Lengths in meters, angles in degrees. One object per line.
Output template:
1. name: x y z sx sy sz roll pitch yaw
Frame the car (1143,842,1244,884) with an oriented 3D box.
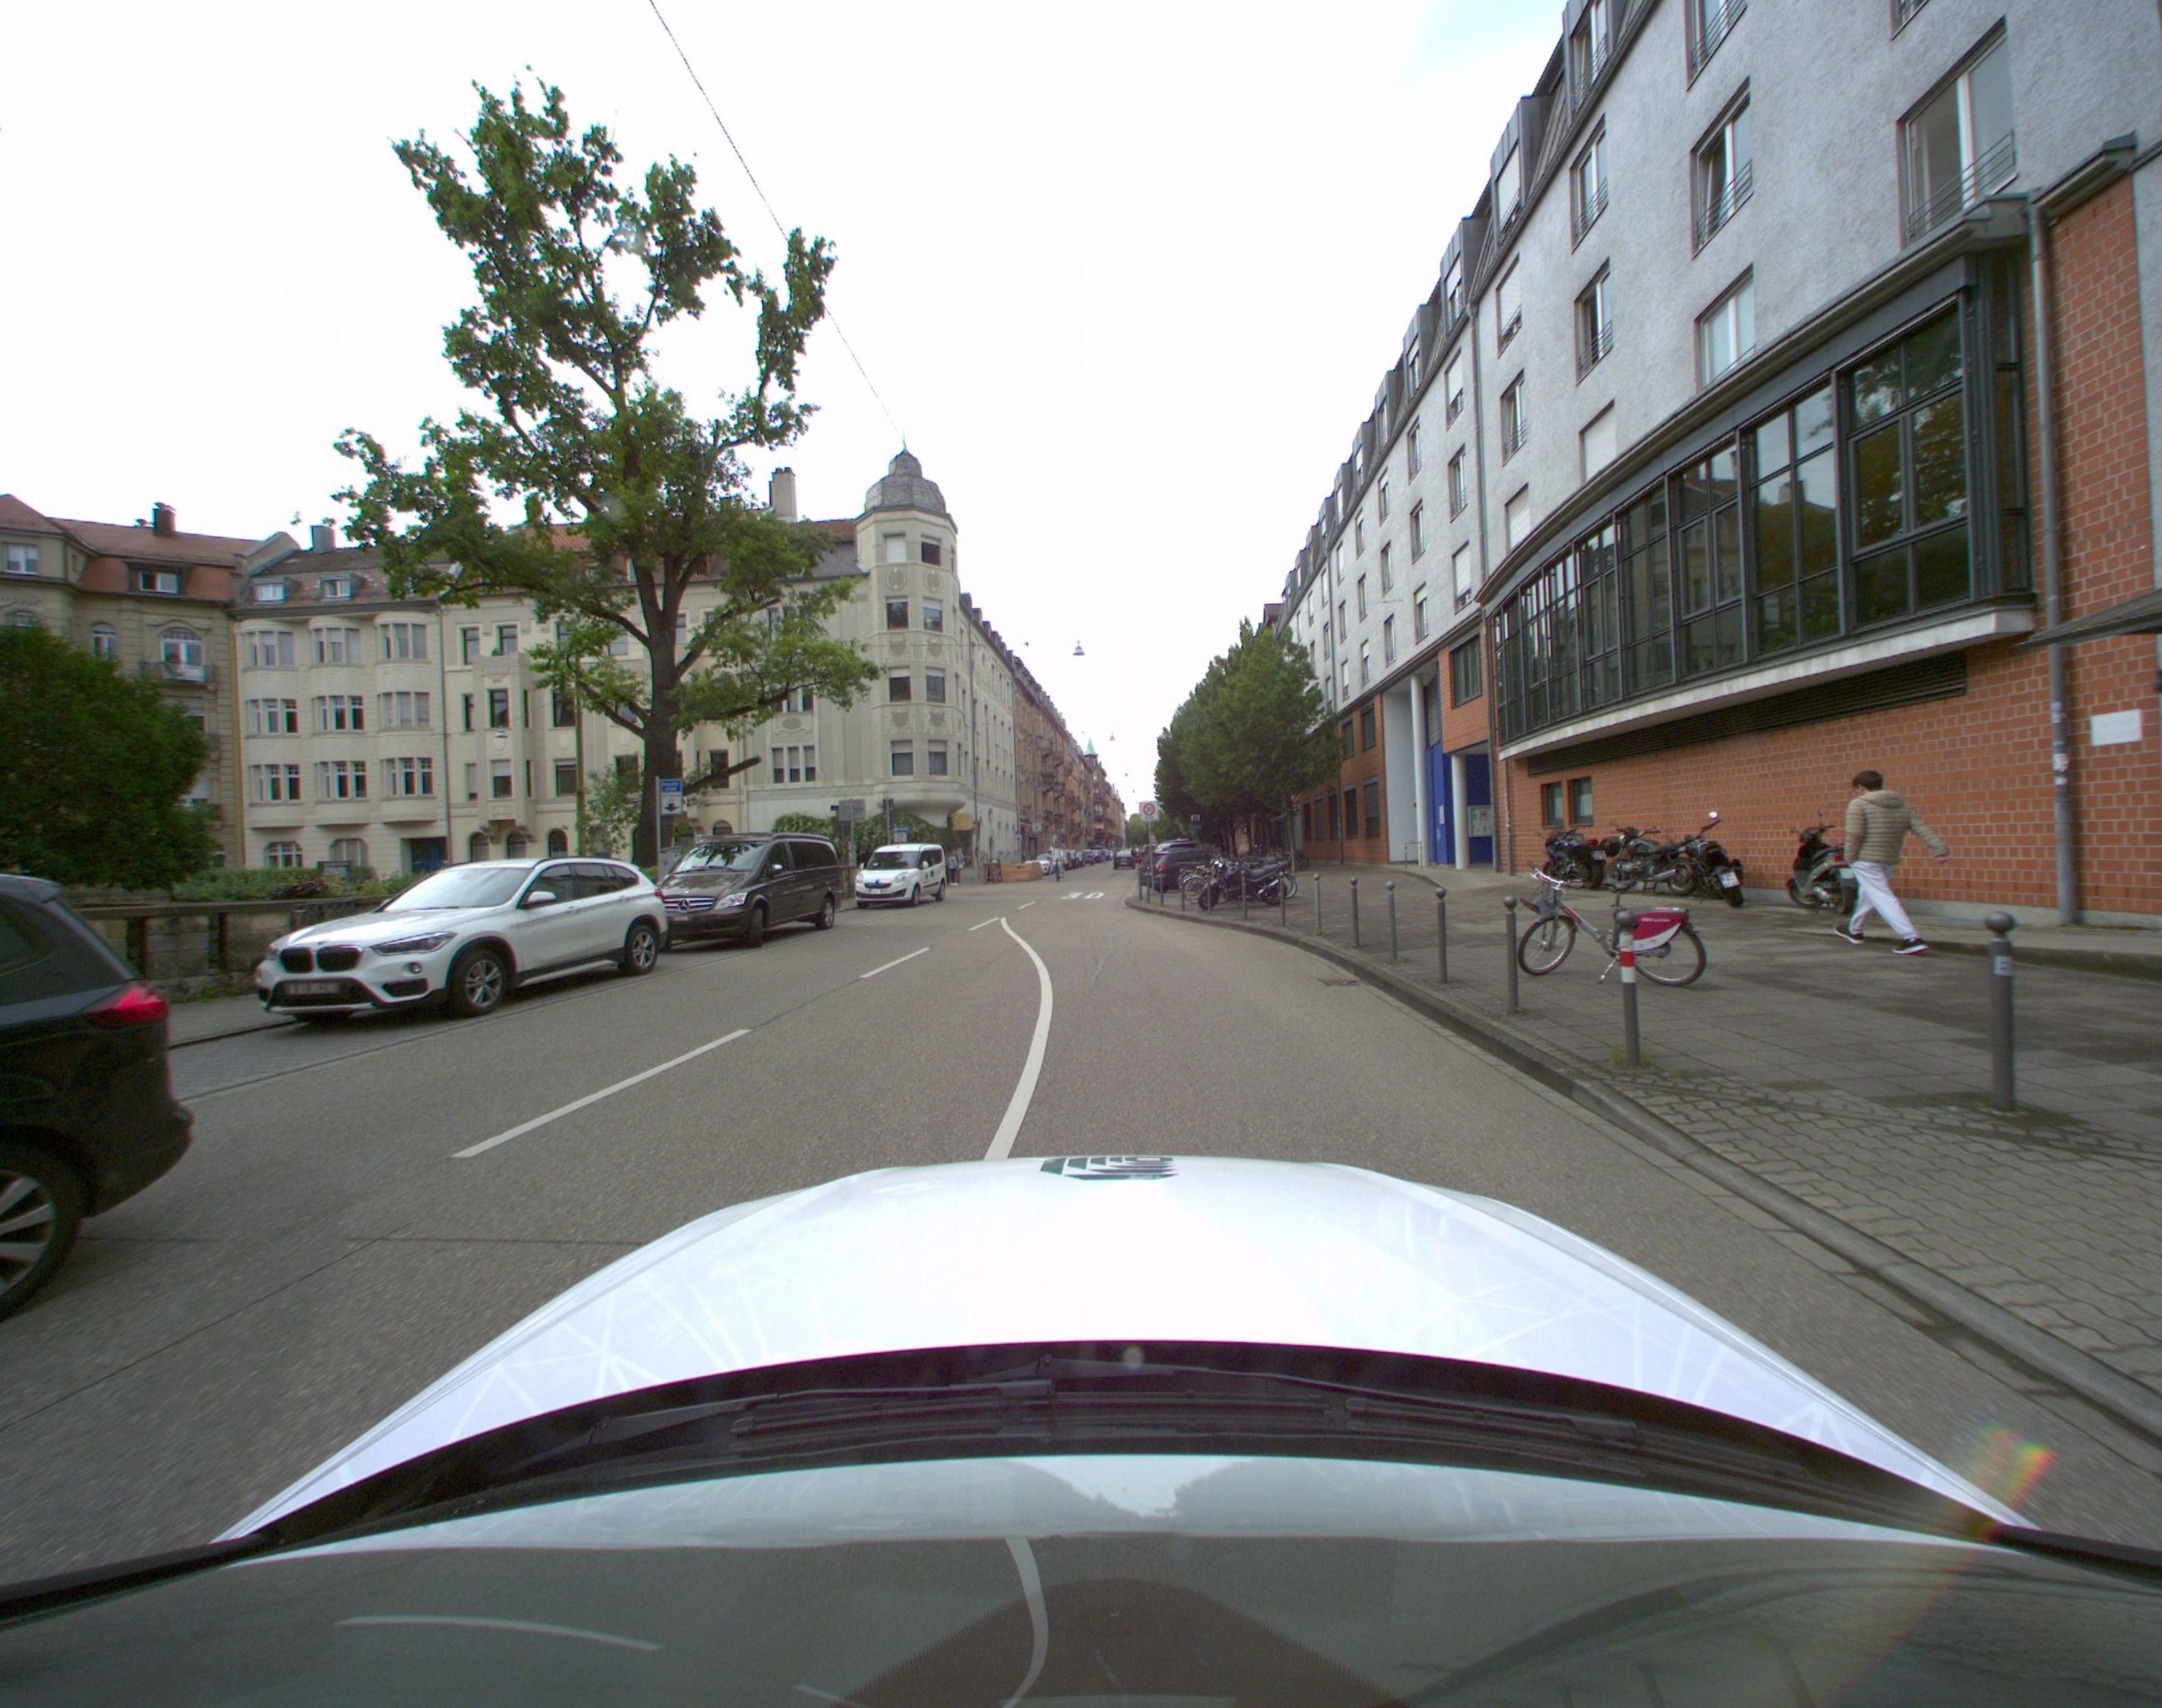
1. car: 5.094 0.413 36.808 4.069 1.585 1.887 -4 -1 -27

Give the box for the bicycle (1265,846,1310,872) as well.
1. bicycle: 9.386 0.223 37.012 1.886 1.092 0.543 -2 -1 4

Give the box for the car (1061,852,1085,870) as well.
1. car: -0.763 0.623 78.076 1.935 1.617 3.947 -2 0 4

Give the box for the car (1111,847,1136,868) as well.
1. car: 3.608 0.308 68.963 1.985 1.681 4.004 -2 -1 4

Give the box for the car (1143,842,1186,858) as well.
1. car: 11.240 -0.524 109.553 5.413 1.868 1.934 -4 0 -25

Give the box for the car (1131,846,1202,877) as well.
1. car: 5.028 0.438 47.610 3.880 1.505 1.752 -3 0 -35

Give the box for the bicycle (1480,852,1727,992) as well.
1. bicycle: 4.771 0.591 7.541 0.733 1.104 1.717 -4 0 -36

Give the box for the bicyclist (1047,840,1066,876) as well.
1. bicyclist: -1.273 0.210 42.539 0.778 1.866 0.716 -2 0 6

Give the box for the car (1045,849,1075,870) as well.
1. car: -1.648 0.423 65.434 1.935 1.617 3.948 -2 0 5

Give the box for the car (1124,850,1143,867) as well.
1. car: 5.662 0.462 87.471 1.985 1.681 4.004 -2 -1 4

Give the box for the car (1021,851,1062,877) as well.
1. car: -2.558 0.631 53.799 1.933 1.553 3.825 -4 0 7

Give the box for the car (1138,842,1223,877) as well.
1. car: 5.203 0.278 42.590 4.068 1.585 1.756 -4 0 -26

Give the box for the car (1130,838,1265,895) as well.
1. car: 4.080 0.405 28.396 4.299 1.578 1.846 -5 0 -29

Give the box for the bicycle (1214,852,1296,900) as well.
1. bicycle: 4.475 0.566 21.006 1.922 1.077 0.612 -4 -1 1

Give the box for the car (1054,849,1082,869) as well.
1. car: -1.117 0.395 70.890 1.935 1.617 3.948 -2 0 5

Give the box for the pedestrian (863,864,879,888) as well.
1. pedestrian: -10.601 1.107 41.062 0.575 1.197 0.555 -2 1 4

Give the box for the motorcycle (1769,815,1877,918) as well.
1. motorcycle: 9.514 0.128 10.501 0.595 1.193 1.576 -4 2 28

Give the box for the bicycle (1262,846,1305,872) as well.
1. bicycle: 9.399 0.231 37.823 1.828 1.092 0.543 -2 -1 4

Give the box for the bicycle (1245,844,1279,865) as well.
1. bicycle: 10.062 0.044 45.224 1.744 1.092 0.566 -2 -1 4

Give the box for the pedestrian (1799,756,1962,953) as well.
1. pedestrian: 7.717 0.003 7.904 0.627 1.753 0.812 -6 0 1

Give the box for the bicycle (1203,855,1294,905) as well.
1. bicycle: 3.997 0.618 19.548 2.001 1.062 0.612 -4 -1 1

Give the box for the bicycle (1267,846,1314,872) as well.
1. bicycle: 9.339 0.227 36.407 1.924 1.092 0.577 -2 -1 4

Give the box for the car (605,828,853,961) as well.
1. car: -6.233 0.610 15.314 2.004 2.014 5.190 -2 0 4

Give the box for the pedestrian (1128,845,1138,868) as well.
1. pedestrian: 4.994 0.243 78.082 0.887 2.146 1.029 -2 -1 3

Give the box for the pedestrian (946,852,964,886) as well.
1. pedestrian: -6.263 0.729 40.528 0.573 1.660 0.579 -3 -1 26

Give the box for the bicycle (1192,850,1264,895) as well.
1. bicycle: 4.130 0.523 23.007 1.876 1.141 0.612 -4 -1 1

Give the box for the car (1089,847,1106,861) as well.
1. car: 2.205 -0.023 109.700 1.935 1.744 3.948 -2 0 5

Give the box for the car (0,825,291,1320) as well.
1. car: -4.743 0.796 1.492 1.836 1.684 4.555 -2 0 5

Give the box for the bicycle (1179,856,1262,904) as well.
1. bicycle: 3.467 0.648 20.375 1.922 1.043 0.612 -4 -1 1

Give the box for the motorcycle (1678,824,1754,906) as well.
1. motorcycle: 9.609 0.134 12.375 0.595 1.143 1.894 -4 0 30

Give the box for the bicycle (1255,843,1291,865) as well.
1. bicycle: 10.236 0.007 43.456 1.744 1.092 0.566 -2 -1 4

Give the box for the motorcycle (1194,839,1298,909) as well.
1. motorcycle: 3.692 0.448 18.369 2.126 1.429 0.771 -4 -1 1

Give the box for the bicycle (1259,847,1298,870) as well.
1. bicycle: 9.705 0.228 40.018 1.744 1.092 0.566 -2 -1 4

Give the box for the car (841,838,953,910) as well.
1. car: -5.464 0.530 24.830 1.833 1.939 4.557 -2 0 7

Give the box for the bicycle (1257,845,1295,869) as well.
1. bicycle: 9.698 0.150 40.628 1.744 1.092 0.566 -2 -1 4

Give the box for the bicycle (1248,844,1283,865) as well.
1. bicycle: 10.032 0.031 44.361 1.744 1.092 0.566 -2 -1 4

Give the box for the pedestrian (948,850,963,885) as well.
1. pedestrian: -6.347 0.674 41.219 0.582 1.734 0.501 -1 -1 -31

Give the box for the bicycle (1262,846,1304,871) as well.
1. bicycle: 9.584 0.229 38.608 1.828 1.092 0.566 -2 -1 4

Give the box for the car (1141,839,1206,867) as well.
1. car: 7.958 -0.107 69.945 5.420 1.992 1.932 -4 0 -30

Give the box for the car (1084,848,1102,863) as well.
1. car: 1.490 0.163 98.901 1.935 1.741 3.948 -2 0 5

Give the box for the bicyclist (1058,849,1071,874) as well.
1. bicyclist: -0.983 0.437 48.118 0.665 1.399 0.784 -2 -1 2

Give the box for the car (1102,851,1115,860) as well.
1. car: 4.409 0.319 131.352 1.986 1.321 4.001 -2 -1 2

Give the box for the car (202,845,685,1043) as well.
1. car: -6.790 0.791 9.490 1.835 1.688 4.438 -2 1 4

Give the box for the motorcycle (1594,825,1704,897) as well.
1. motorcycle: 9.972 0.109 14.401 0.598 1.143 2.073 -4 0 5

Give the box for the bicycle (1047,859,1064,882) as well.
1. bicycle: -1.314 0.846 42.092 0.564 1.087 1.990 -2 0 6

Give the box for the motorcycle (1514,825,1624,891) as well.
1. motorcycle: 9.994 0.061 16.805 1.023 1.202 2.212 -4 0 4

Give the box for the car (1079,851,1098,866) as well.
1. car: 0.874 0.464 94.014 1.935 1.617 3.947 -2 0 4

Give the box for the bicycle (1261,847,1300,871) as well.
1. bicycle: 9.605 0.232 39.239 1.744 1.092 0.566 -2 -1 4

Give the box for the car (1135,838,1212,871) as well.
1. car: 7.043 0.003 61.887 5.642 2.127 1.932 -4 0 -30

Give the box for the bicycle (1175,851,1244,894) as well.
1. bicycle: 3.787 0.539 24.088 1.876 1.141 0.612 -4 -1 1

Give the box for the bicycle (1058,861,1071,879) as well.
1. bicycle: -0.986 0.935 48.102 0.533 0.977 1.867 -2 -1 4

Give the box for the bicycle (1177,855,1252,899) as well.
1. bicycle: 3.581 0.614 22.006 1.876 1.043 0.612 -4 -1 1
